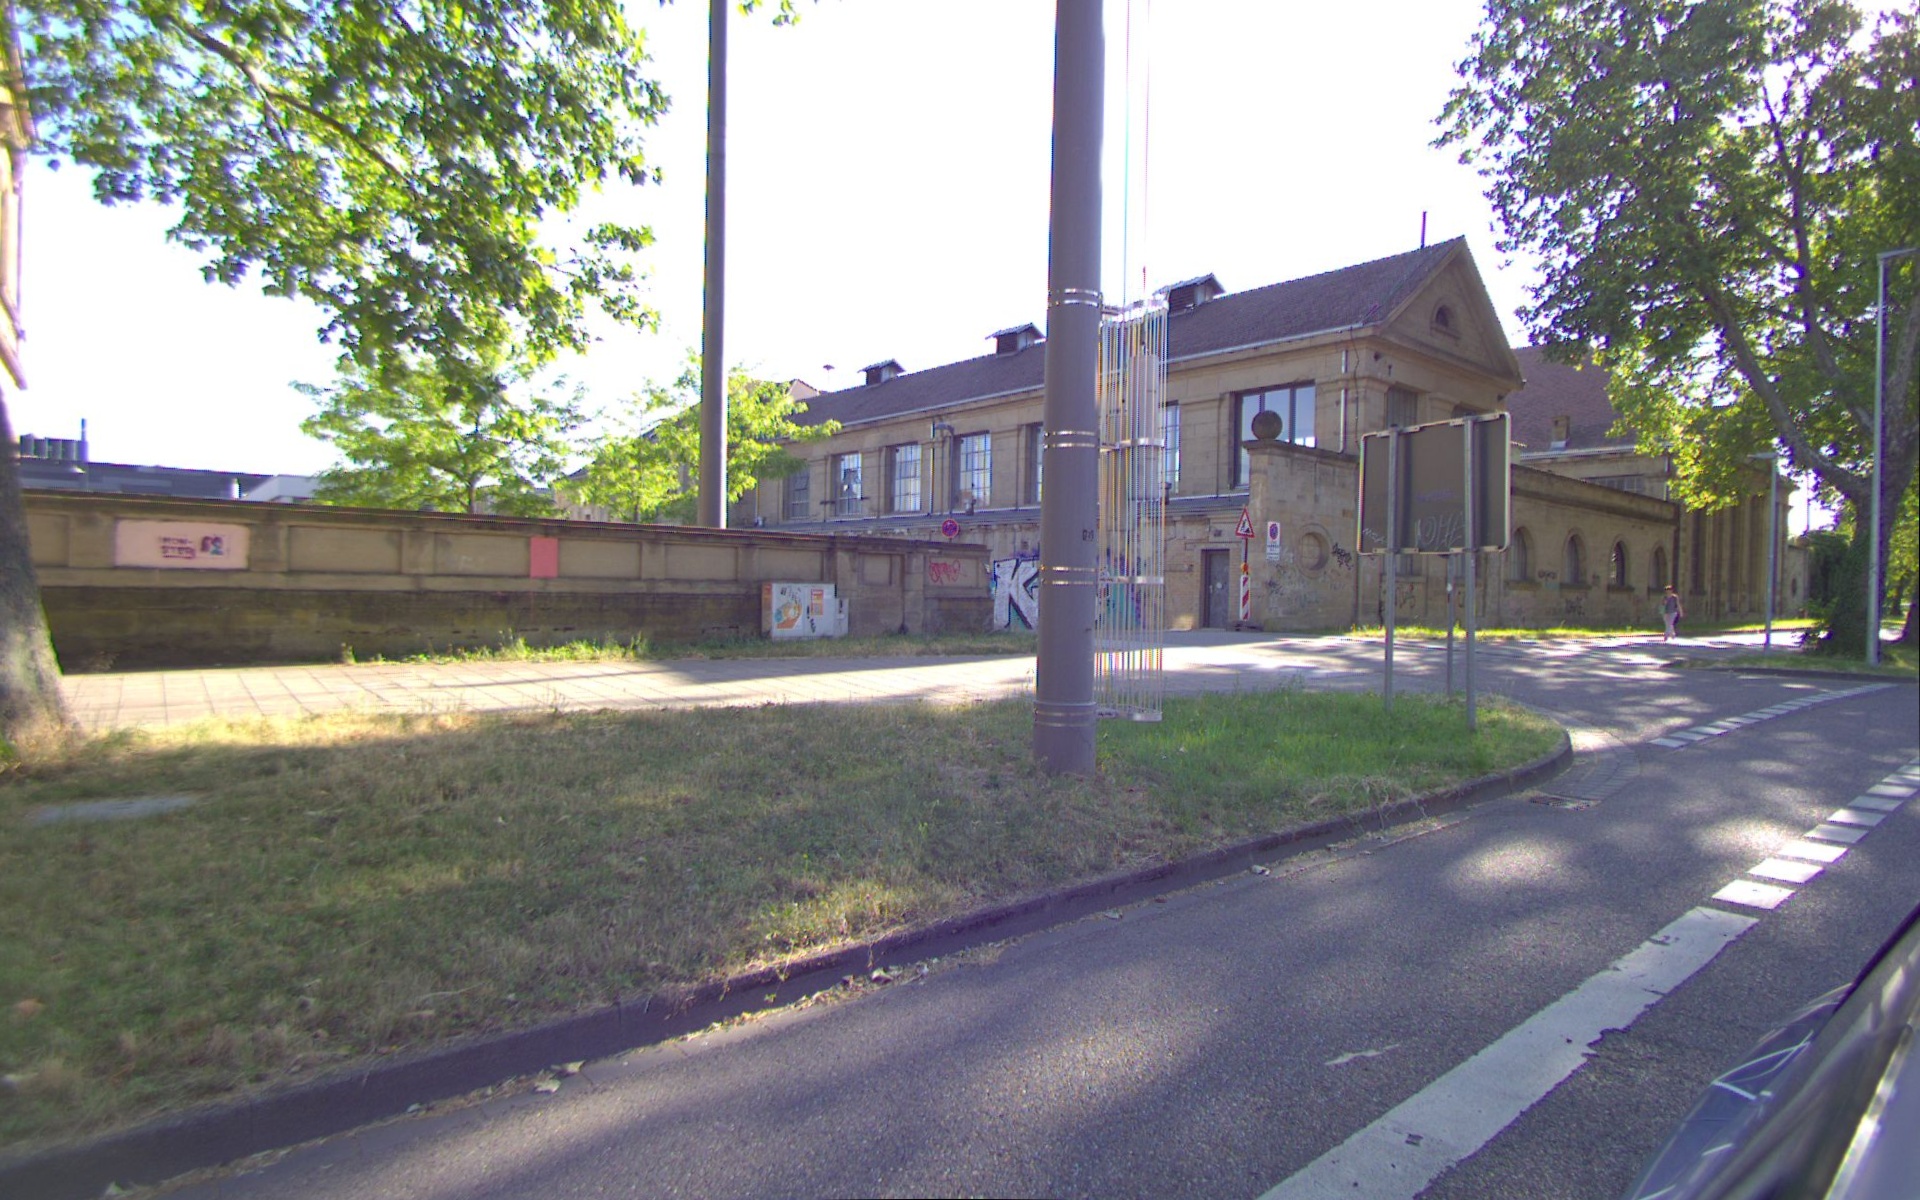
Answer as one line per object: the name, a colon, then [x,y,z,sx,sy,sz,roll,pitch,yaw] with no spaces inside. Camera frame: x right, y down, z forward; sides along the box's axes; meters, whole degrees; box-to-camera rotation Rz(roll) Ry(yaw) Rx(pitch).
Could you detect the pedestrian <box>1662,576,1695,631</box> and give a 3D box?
pedestrian: [22.560,0.109,31.769,0.670,1.682,0.860,3,2,44]
